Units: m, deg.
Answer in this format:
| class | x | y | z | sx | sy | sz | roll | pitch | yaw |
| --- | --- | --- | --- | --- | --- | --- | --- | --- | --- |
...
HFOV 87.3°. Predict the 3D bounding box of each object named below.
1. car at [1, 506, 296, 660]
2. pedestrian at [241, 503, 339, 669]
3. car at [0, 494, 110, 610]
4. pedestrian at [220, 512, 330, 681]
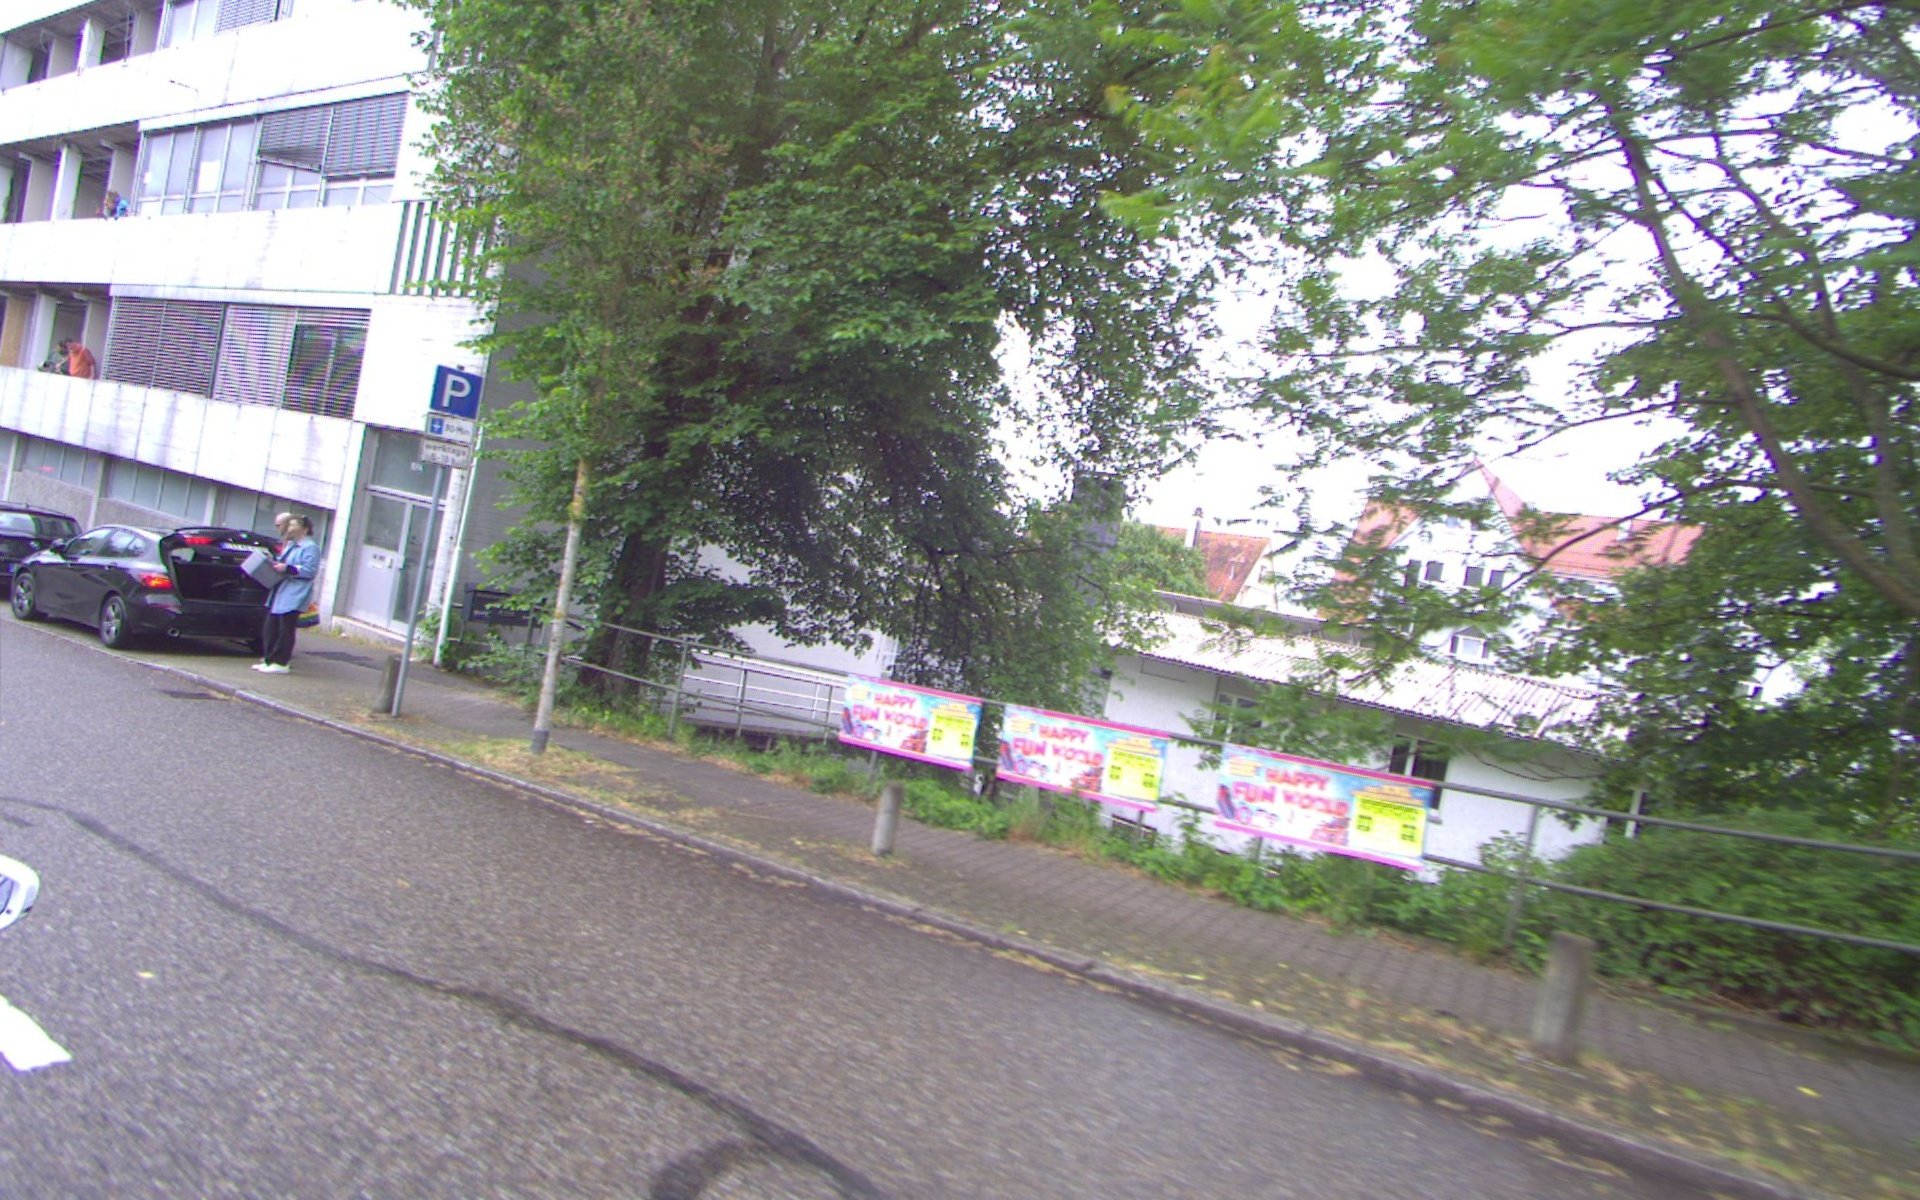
| class | x | y | z | sx | sy | sz | roll | pitch | yaw |
| --- | --- | --- | --- | --- | --- | --- | --- | --- | --- |
| car | -10.434 | -0.238 | 12.875 | 3.932 | 1.452 | 1.506 | 7 | -1 | 30 |
| pedestrian | -7.969 | -0.171 | 11.993 | 0.656 | 1.860 | 0.685 | 7 | 2 | -18 |
| car | -15.228 | -0.894 | 15.768 | 3.933 | 1.482 | 1.684 | 8 | 0 | 32 |
| pedestrian | -7.633 | -0.048 | 11.245 | 0.727 | 1.746 | 0.761 | 7 | 2 | -23 |
